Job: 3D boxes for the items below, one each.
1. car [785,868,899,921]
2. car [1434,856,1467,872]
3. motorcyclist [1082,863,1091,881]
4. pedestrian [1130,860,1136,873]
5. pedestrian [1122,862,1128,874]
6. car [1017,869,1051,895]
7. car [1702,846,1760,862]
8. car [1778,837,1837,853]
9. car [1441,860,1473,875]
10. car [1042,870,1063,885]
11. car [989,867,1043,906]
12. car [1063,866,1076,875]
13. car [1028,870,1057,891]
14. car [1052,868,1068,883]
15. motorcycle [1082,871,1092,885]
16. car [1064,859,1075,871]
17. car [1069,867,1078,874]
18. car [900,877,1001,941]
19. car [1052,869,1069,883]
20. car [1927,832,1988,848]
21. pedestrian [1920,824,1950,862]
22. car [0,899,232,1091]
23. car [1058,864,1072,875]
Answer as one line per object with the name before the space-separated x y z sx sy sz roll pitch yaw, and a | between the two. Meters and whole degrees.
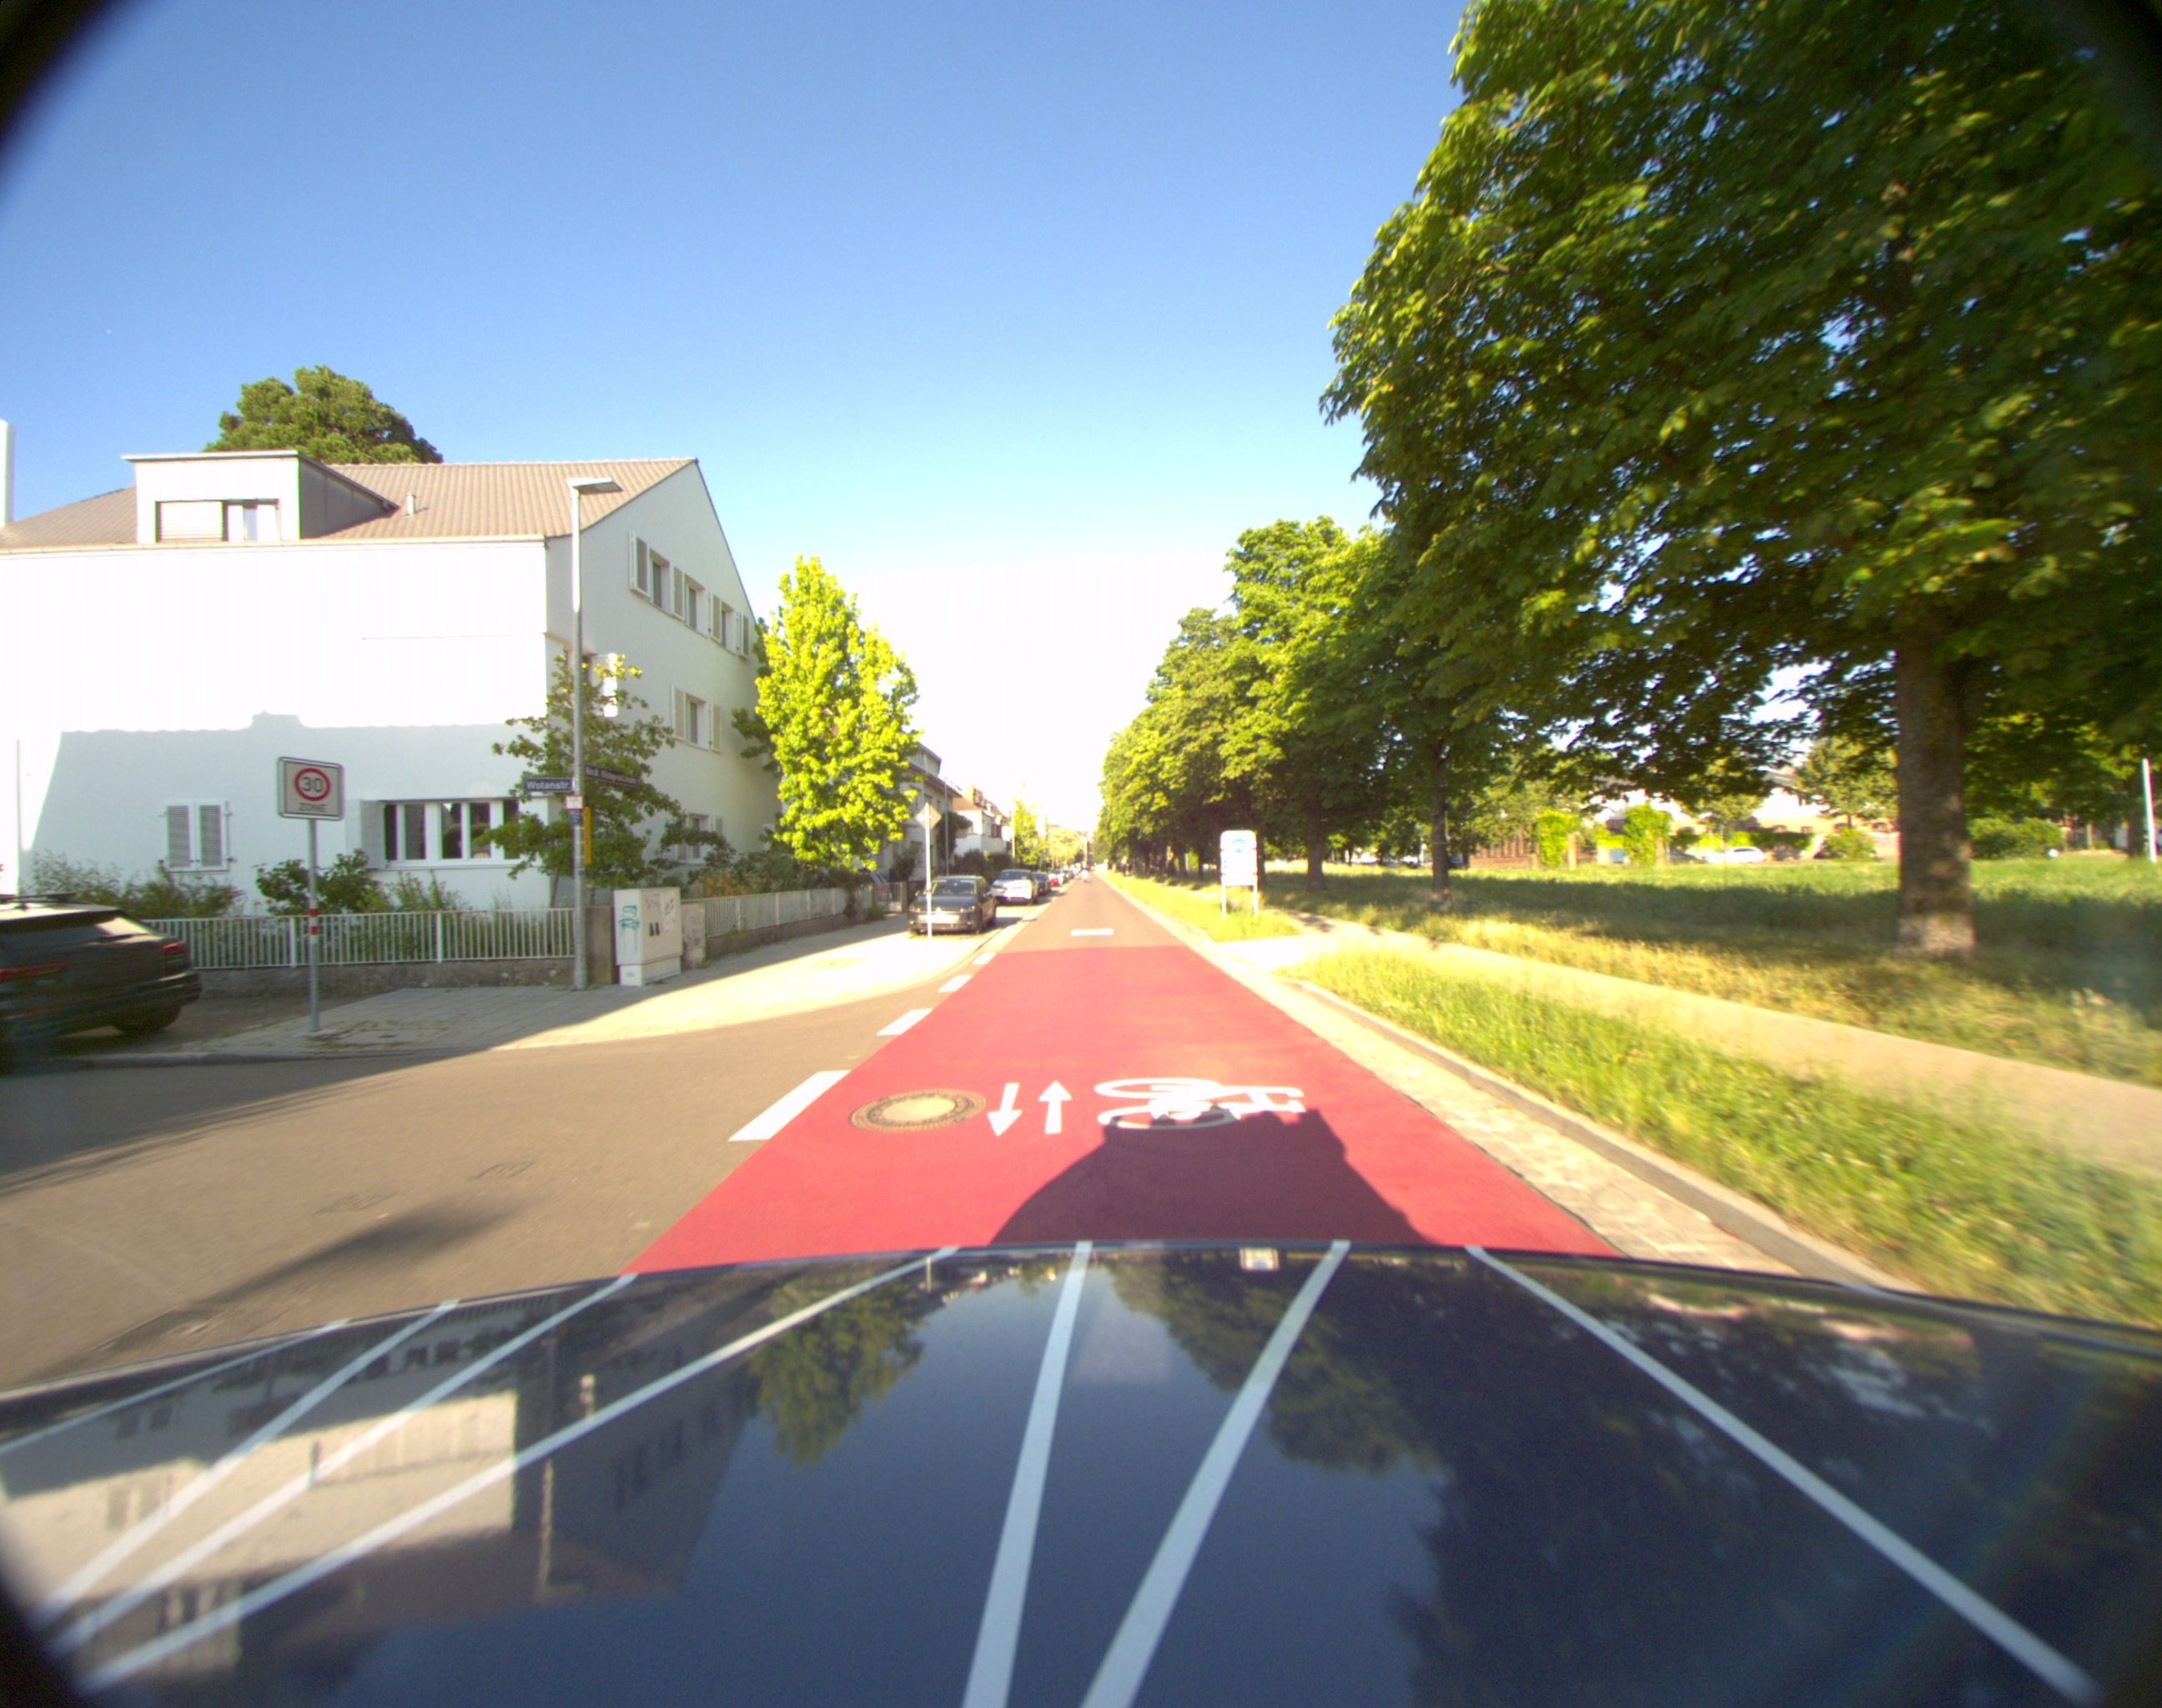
car | -9.519 1.612 30.551 3.994 1.833 1.815 -3 -2 -5
car | 37.357 0.990 76.848 1.585 1.472 3.640 -3 0 1
motorcyclist | 0.604 2.037 85.199 0.961 2.002 1.274 -3 0 0
pedestrian | 7.413 1.831 107.982 0.625 1.840 0.606 -2 0 40
pedestrian | 6.225 1.989 108.405 0.625 1.621 0.606 -3 0 27
car | -2.867 1.715 47.062 1.798 1.485 4.194 1 -1 0
car | 57.430 -0.004 67.184 3.636 1.272 1.586 -3 0 2
car | 65.313 -0.803 68.323 3.636 1.272 1.586 -3 0 2
car | 43.535 1.517 88.033 1.766 1.619 4.001 -2 -1 0
car | -2.554 2.106 68.318 1.702 1.250 3.880 -1 0 0
car | -2.924 1.472 35.271 1.910 1.698 4.577 1 -1 2
car | -1.859 2.717 124.358 1.844 1.471 3.765 -2 -1 2
car | -2.674 1.867 54.094 1.798 1.372 4.079 1 -1 0
car | -2.170 2.206 78.351 1.508 1.471 3.493 0 -1 1
motorcycle | 0.666 2.692 85.314 1.077 1.373 2.463 -3 0 0
car | -2.101 2.103 141.289 1.844 2.195 3.764 -2 -1 1
car | -1.673 3.690 172.417 1.844 1.471 3.764 -2 -1 0
car | -3.308 1.367 20.047 1.798 1.473 4.125 1 -2 2
car | -2.340 2.518 87.822 1.746 1.471 4.057 -2 -1 0
car | 79.590 -1.267 69.018 3.636 1.272 1.586 -3 0 2
pedestrian | 39.815 -0.513 35.424 0.778 1.714 0.715 -3 0 -28
car | -12.056 1.456 7.936 4.100 1.679 1.894 -3 0 -1
car | -2.180 2.089 103.513 1.665 1.526 3.834 0 -1 2
